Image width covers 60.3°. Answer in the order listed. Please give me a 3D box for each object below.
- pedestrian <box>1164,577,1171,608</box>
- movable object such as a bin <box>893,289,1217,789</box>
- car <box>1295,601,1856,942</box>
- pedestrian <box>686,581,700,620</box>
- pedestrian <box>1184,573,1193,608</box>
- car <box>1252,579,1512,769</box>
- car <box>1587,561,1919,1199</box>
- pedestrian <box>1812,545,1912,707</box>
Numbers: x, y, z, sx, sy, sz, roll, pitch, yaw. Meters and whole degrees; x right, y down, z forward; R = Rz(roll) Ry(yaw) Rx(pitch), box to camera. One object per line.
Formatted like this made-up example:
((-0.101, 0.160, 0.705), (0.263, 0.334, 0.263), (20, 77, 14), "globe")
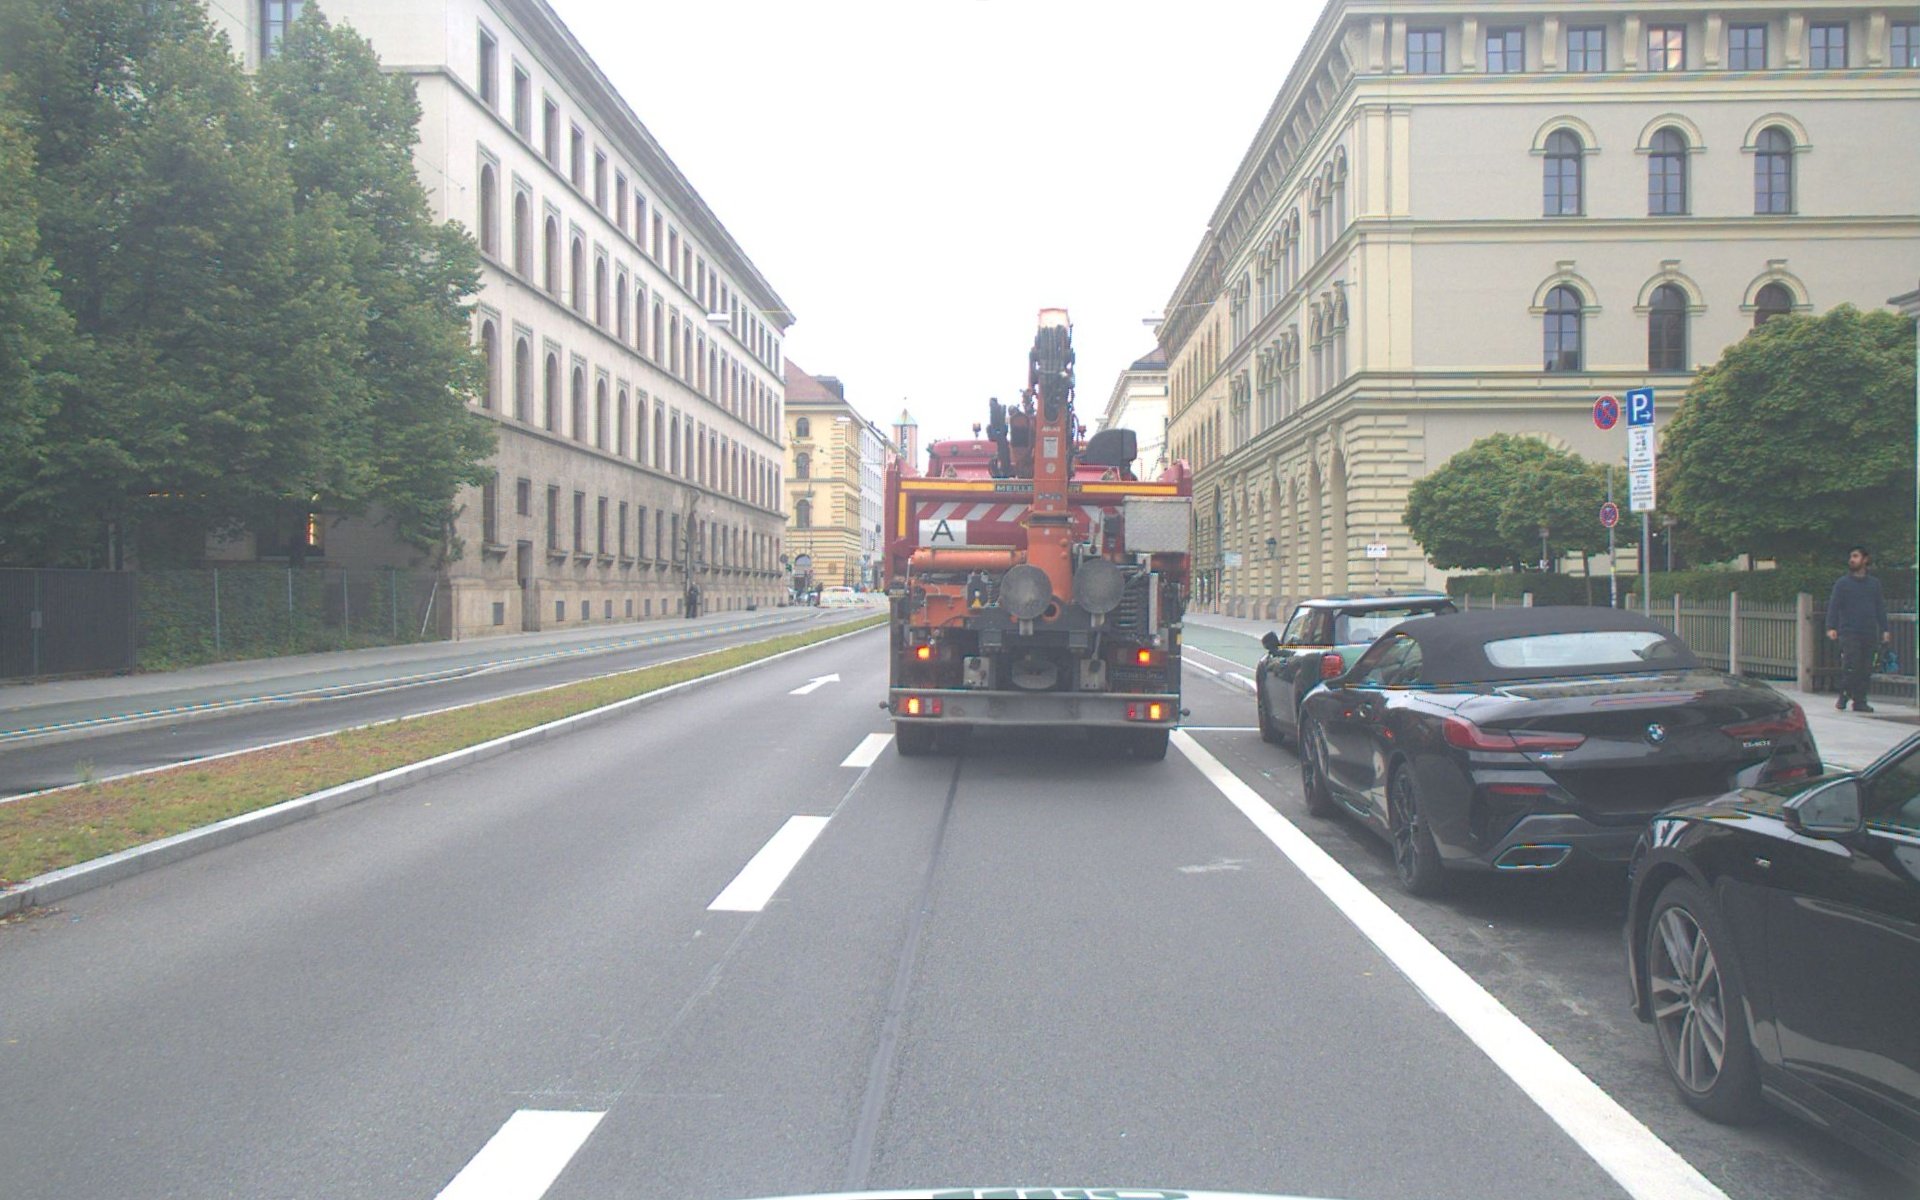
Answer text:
((11.392, -0.434, 90.629), (0.330, 1.701, 0.440), (0, 0, 3), "pedestrian")
((0.736, -0.477, 15.113), (2.373, 3.674, 5.852), (0, 0, 1), "movable object such as a bin")
((3.122, 0.747, 9.409), (1.645, 1.410, 4.427), (1, 1, 2), "car")
((-12.863, 0.023, 79.556), (0.576, 1.863, 0.499), (1, 1, 0), "pedestrian")
((12.526, -0.528, 90.764), (0.436, 1.868, 0.556), (0, 0, 3), "pedestrian")
((3.708, 0.585, 15.066), (1.577, 1.521, 3.425), (0, 1, 2), "car")
((2.961, 0.716, 3.126), (1.765, 1.505, 4.687), (3, 1, 1), "car")
((10.575, 0.294, 19.417), (0.774, 1.868, 0.777), (0, 1, 3), "pedestrian")
